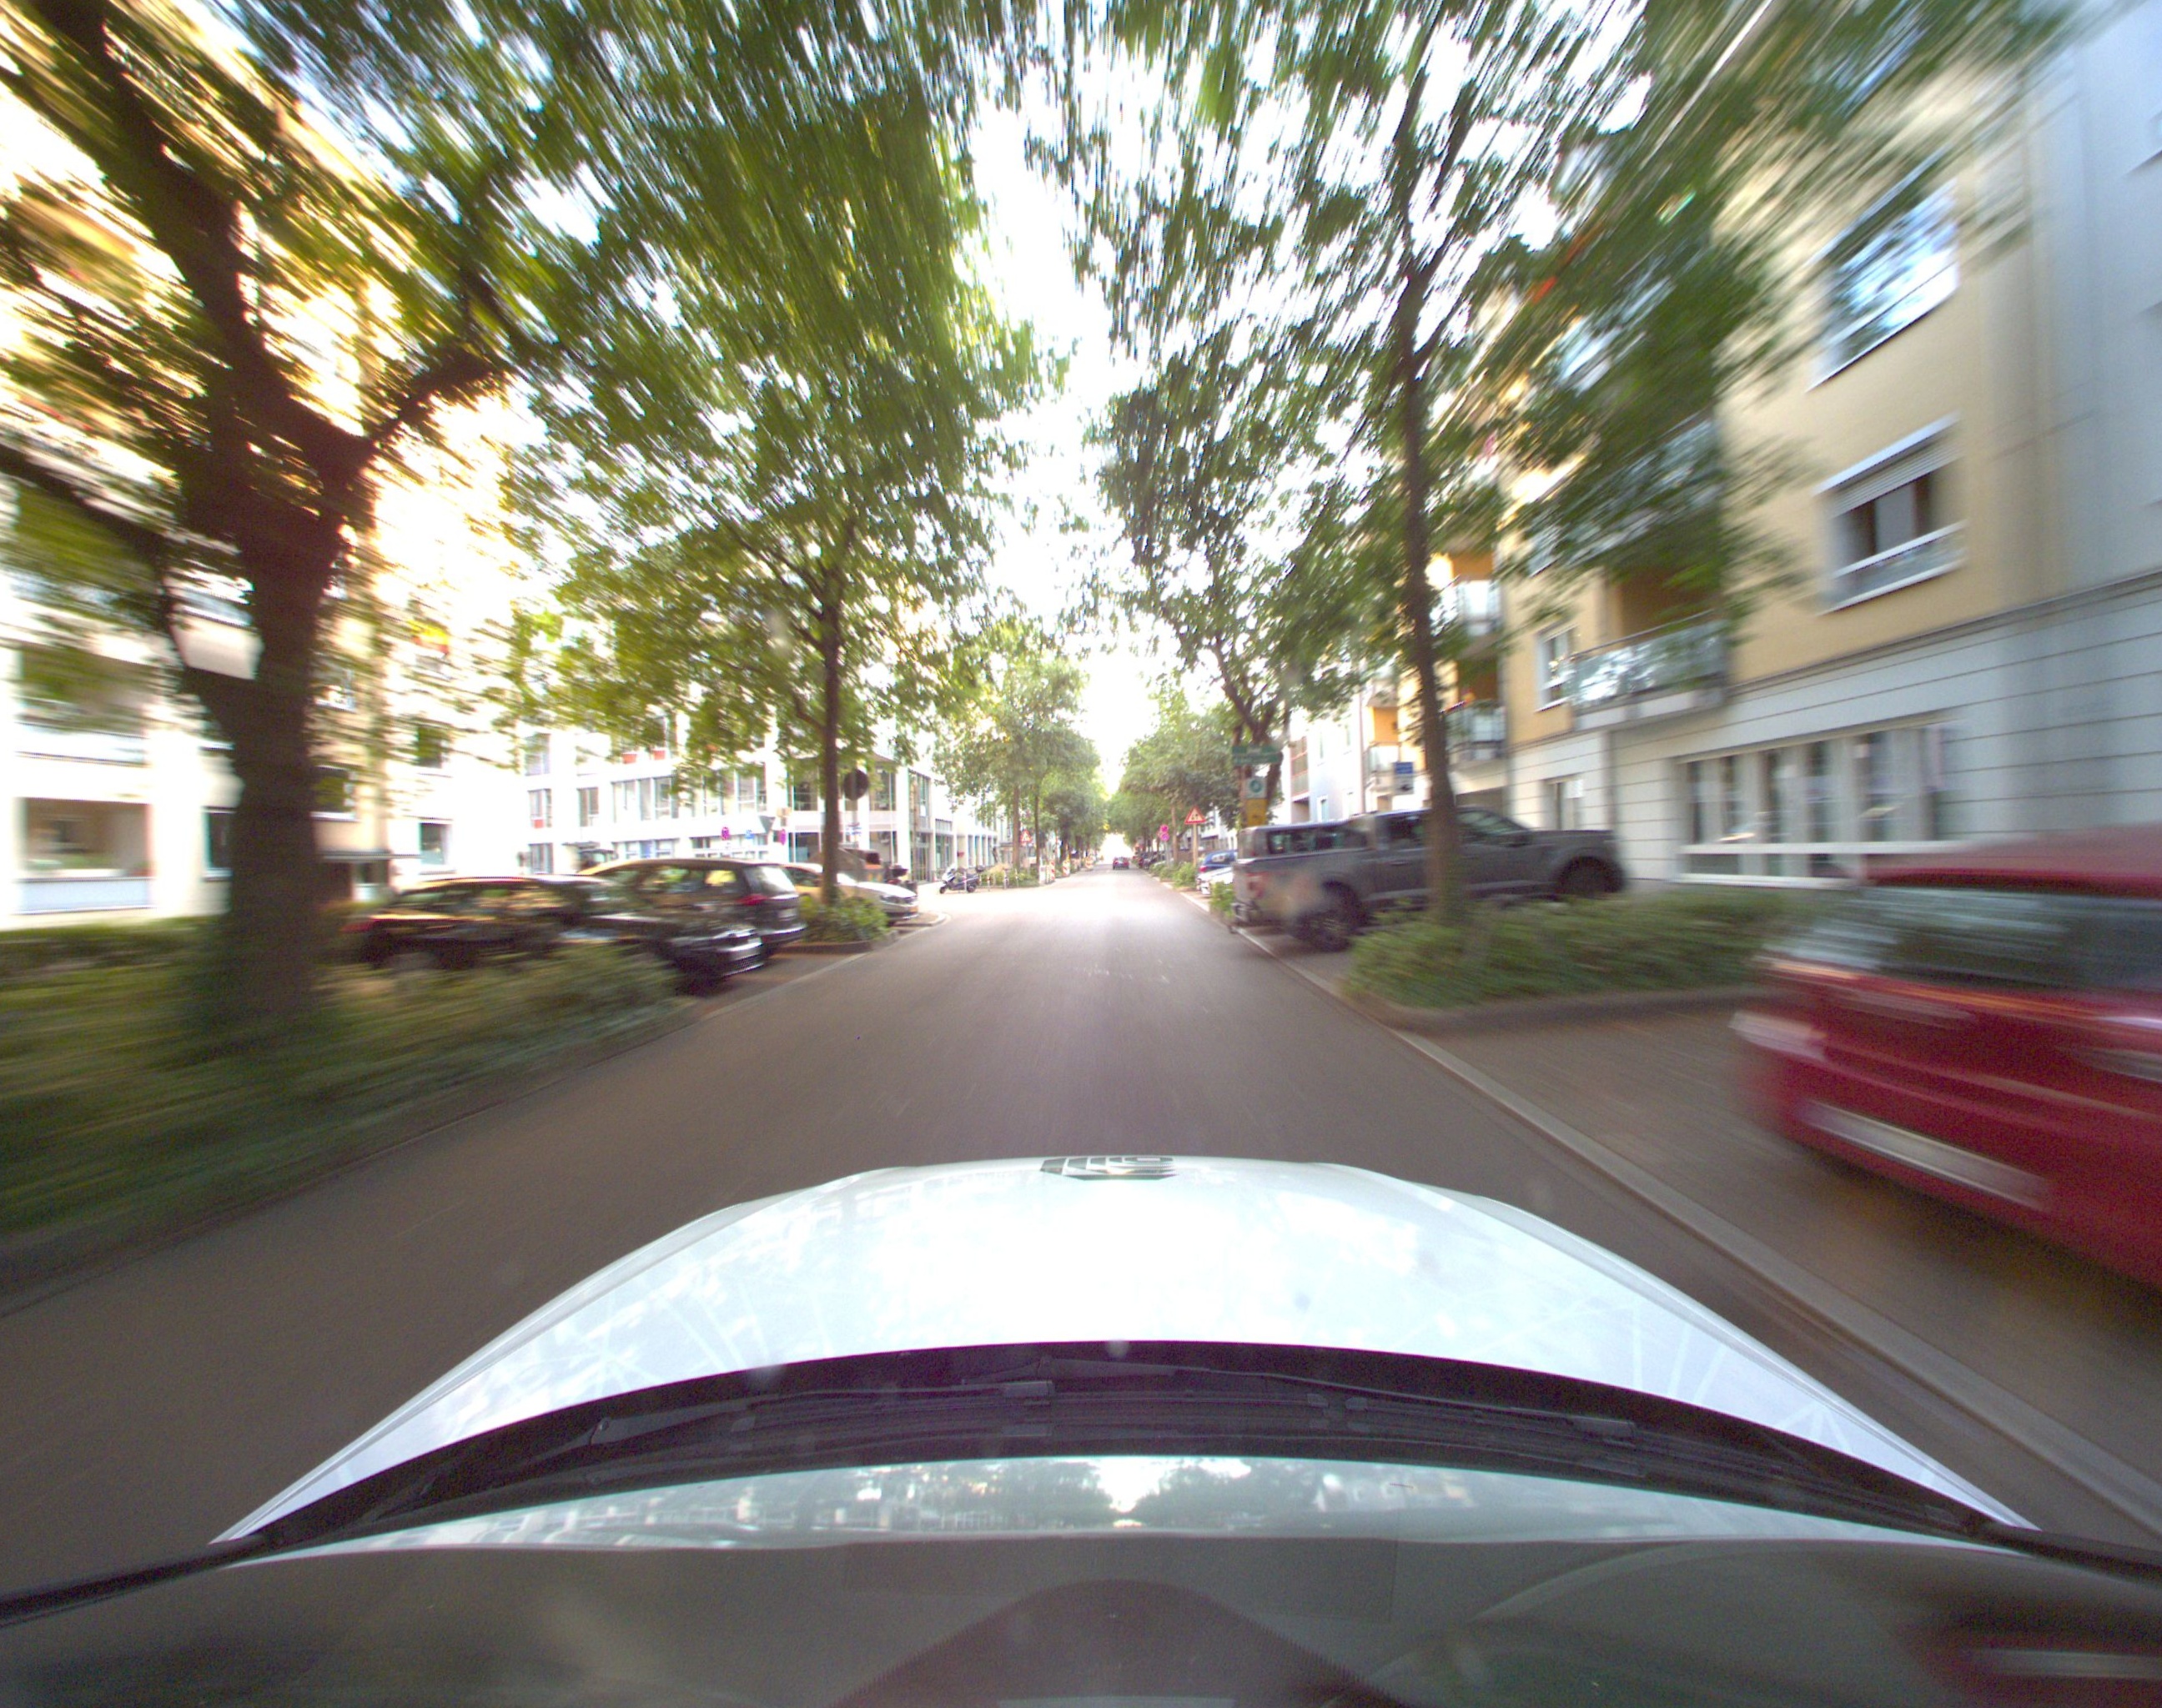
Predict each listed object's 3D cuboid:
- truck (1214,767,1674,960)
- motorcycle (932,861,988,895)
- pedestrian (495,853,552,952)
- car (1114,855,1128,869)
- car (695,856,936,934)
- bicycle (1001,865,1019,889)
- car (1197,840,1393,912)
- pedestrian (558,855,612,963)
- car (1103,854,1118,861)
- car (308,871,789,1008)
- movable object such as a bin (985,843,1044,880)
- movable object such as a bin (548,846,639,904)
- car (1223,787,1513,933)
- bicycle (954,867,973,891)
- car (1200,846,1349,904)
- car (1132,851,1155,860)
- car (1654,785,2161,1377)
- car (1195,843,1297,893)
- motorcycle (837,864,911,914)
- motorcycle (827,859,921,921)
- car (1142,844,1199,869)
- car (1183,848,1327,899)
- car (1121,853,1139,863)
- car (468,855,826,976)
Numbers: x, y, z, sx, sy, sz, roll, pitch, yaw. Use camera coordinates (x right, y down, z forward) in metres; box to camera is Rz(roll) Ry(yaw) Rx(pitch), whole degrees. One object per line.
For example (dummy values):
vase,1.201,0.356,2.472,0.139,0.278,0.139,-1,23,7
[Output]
truck,5.292,0.148,12.646,5.981,2.133,2.262,-6,0,2
motorcycle,-5.544,1.079,37.392,2.391,1.440,0.793,-2,0,-38
pedestrian,-9.129,0.789,13.340,0.653,1.572,0.451,-2,0,22
car,4.448,0.856,90.173,1.494,1.416,3.716,-2,0,3
car,-5.617,0.846,17.632,4.480,1.581,2.056,0,-1,3
bicycle,-3.563,1.164,41.051,0.598,1.118,1.801,-2,0,3
car,5.644,0.577,21.891,4.780,1.704,1.836,-2,0,0
pedestrian,-8.487,0.917,13.936,0.702,1.788,0.523,-2,0,-38
car,8.395,1.086,229.292,3.981,1.914,1.774,-2,0,-6
car,-6.456,0.995,10.347,4.700,1.424,2.071,-1,0,0
movable object such as a bin,-4.492,0.491,55.701,3.653,2.333,2.583,-2,0,0
movable object such as a bin,-23.786,1.028,39.705,4.059,2.634,1.813,-2,0,26
car,5.200,0.113,15.318,4.602,2.133,2.038,-6,0,2
bicycle,-5.888,1.221,40.820,0.598,1.118,1.801,-2,0,3
car,5.761,0.603,24.627,4.054,1.563,1.853,-2,0,0
car,11.010,0.277,143.403,3.975,1.597,1.999,-2,0,-1
car,4.643,0.473,3.027,3.653,1.548,1.780,-5,-2,0
car,5.961,0.506,29.665,3.337,1.526,1.747,-4,0,3
motorcycle,-5.989,1.010,23.538,2.195,1.374,0.728,-2,-1,33
motorcycle,-5.370,0.929,21.218,2.207,1.494,0.692,-2,-1,4
car,7.964,0.235,72.963,4.952,2.087,1.739,-2,0,2
car,5.724,0.629,27.077,4.275,1.508,1.867,-2,0,-7
car,11.329,0.870,187.499,3.969,2.013,2.002,-2,0,4
car,-6.459,0.873,12.545,4.381,1.684,2.064,0,0,0
